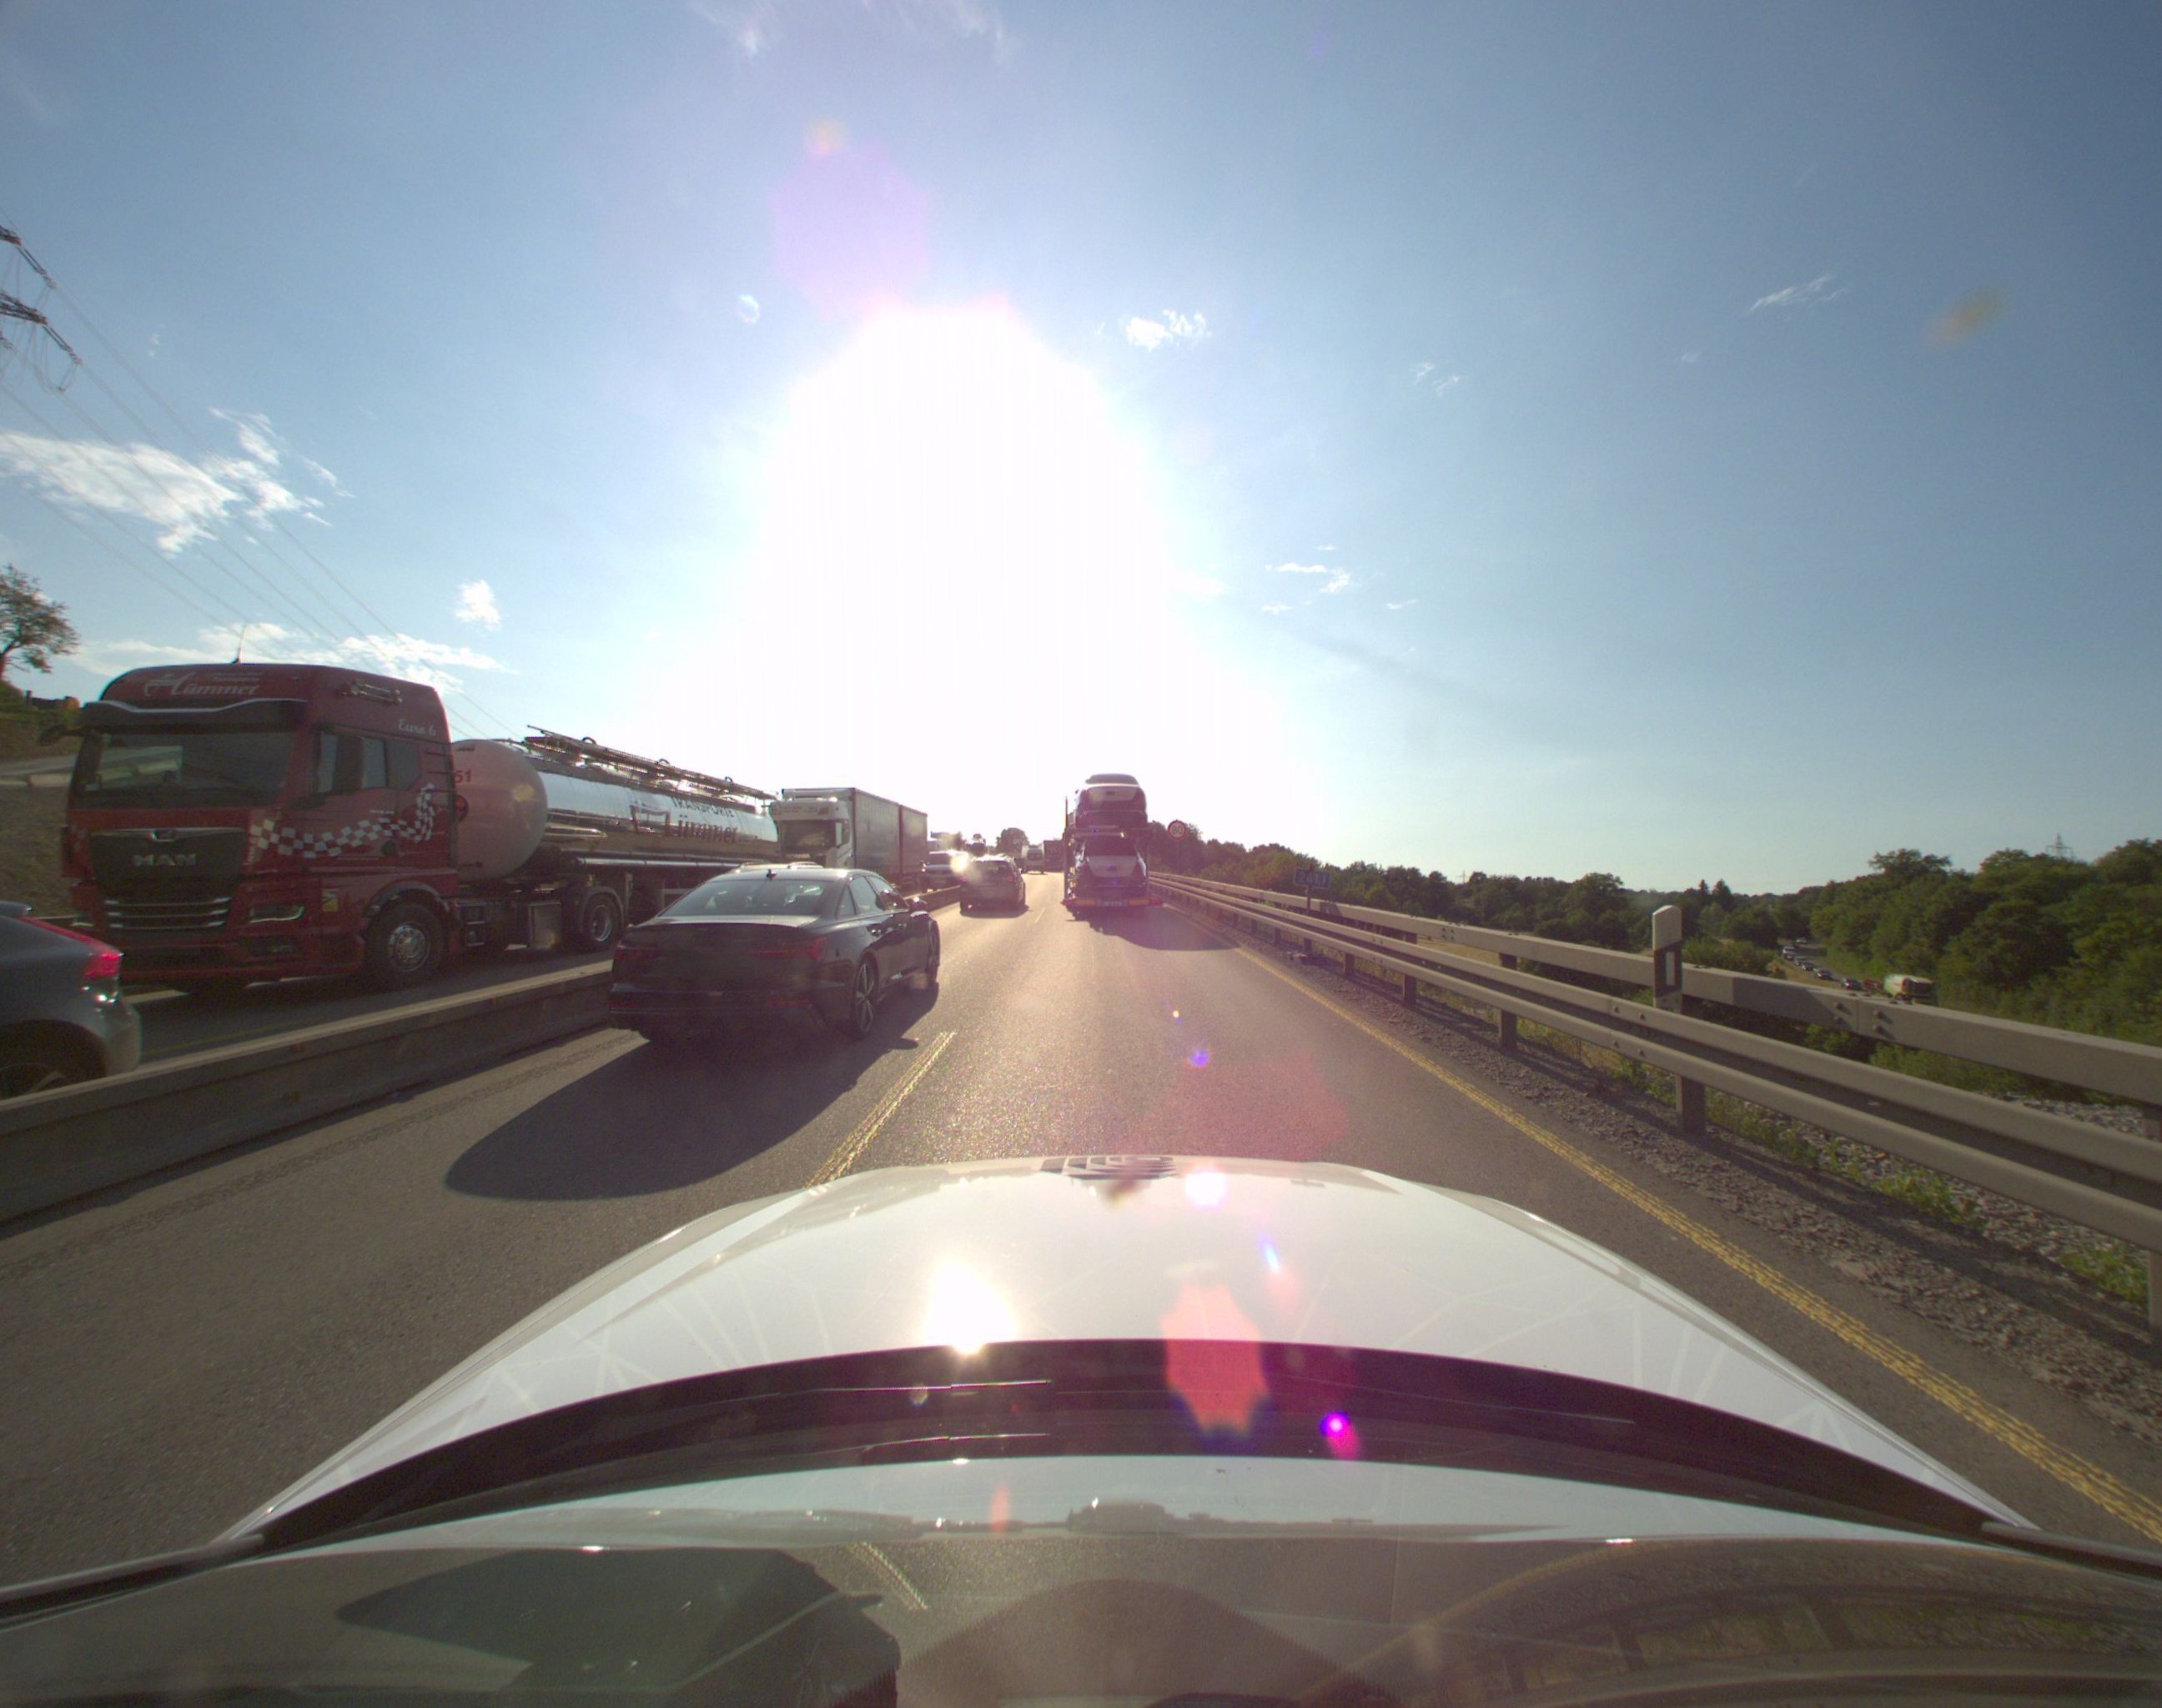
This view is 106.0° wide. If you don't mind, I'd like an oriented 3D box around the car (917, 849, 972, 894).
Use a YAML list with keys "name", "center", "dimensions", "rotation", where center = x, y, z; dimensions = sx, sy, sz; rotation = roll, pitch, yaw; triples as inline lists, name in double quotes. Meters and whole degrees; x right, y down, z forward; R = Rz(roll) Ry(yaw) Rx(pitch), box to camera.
- name: "car"
  center: [-6.248, 0.795, 37.766]
  dimensions: [1.812, 1.925, 4.832]
  rotation: [-1, -1, -2]

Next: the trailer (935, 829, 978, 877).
- name: "trailer"
  center: [-10.575, 0.039, 70.283]
  dimensions: [2.515, 3.725, 13.956]
  rotation: [-1, -1, -4]

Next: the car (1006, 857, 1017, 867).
- name: "car"
  center: [-12.759, 1.400, 149.866]
  dimensions: [1.820, 1.772, 3.999]
  rotation: [-1, -1, 0]

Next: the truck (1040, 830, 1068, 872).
- name: "truck"
  center: [-3.676, -0.315, 107.236]
  dimensions: [3.279, 5.237, 9.920]
  rotation: [-1, -1, -4]

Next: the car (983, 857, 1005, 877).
- name: "car"
  center: [-7.526, 1.117, 70.506]
  dimensions: [1.754, 1.695, 4.446]
  rotation: [-1, -1, -5]

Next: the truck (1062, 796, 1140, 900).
- name: "truck"
  center: [0.662, -0.162, 35.015]
  dimensions: [2.829, 3.792, 9.981]
  rotation: [-1, -1, -1]

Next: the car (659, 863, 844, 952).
- name: "car"
  center: [-6.001, 0.899, 15.506]
  dimensions: [1.622, 1.426, 4.656]
  rotation: [-1, -1, 0]

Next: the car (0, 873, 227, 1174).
- name: "car"
  center: [-5.990, 0.808, 2.707]
  dimensions: [1.622, 1.426, 4.387]
  rotation: [-1, -1, 1]

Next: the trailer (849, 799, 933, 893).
- name: "trailer"
  center: [-9.311, -0.305, 40.882]
  dimensions: [2.437, 4.189, 8.536]
  rotation: [-1, -1, -2]

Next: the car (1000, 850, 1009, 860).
- name: "car"
  center: [-15.495, 0.254, 165.175]
  dimensions: [1.628, 2.014, 3.990]
  rotation: [0, -1, -7]

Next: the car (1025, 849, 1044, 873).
- name: "car"
  center: [-4.952, 0.802, 87.973]
  dimensions: [1.916, 2.493, 5.404]
  rotation: [-1, -1, -2]

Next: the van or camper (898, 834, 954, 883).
- name: "van or camper"
  center: [-9.761, 0.322, 51.948]
  dimensions: [2.402, 2.891, 7.610]
  rotation: [-1, -1, -2]

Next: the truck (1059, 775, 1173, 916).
- name: "truck"
  center: [0.789, -0.147, 25.537]
  dimensions: [2.791, 3.497, 10.599]
  rotation: [-1, -1, -1]

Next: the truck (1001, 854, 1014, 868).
- name: "truck"
  center: [-16.854, 1.575, 187.647]
  dimensions: [2.584, 3.170, 6.670]
  rotation: [-1, -1, -2]

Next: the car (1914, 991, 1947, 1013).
- name: "car"
  center: [105.677, 18.426, 101.297]
  dimensions: [1.858, 2.014, 4.025]
  rotation: [-1, -1, 32]

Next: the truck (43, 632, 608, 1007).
- name: "truck"
  center: [-9.293, -0.329, 11.086]
  dimensions: [2.425, 3.785, 5.615]
  rotation: [-1, -1, 0]

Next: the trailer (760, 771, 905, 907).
- name: "trailer"
  center: [-9.105, -0.428, 31.360]
  dimensions: [2.468, 4.329, 10.506]
  rotation: [-1, -1, -1]

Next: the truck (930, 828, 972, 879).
- name: "truck"
  center: [-10.160, -0.005, 64.140]
  dimensions: [2.595, 3.754, 6.509]
  rotation: [-1, -1, -3]

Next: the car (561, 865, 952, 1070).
- name: "car"
  center: [-2.708, 0.845, 8.297]
  dimensions: [1.928, 1.399, 4.961]
  rotation: [0, 0, 1]

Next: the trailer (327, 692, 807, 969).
- name: "trailer"
  center: [-9.114, -0.254, 17.251]
  dimensions: [2.299, 3.790, 12.054]
  rotation: [-1, -1, 1]

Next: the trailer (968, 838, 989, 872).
- name: "trailer"
  center: [-13.335, 0.191, 106.469]
  dimensions: [2.304, 4.130, 14.569]
  rotation: [0, -1, -6]

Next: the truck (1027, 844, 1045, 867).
- name: "truck"
  center: [-7.504, 0.258, 136.905]
  dimensions: [2.523, 3.648, 8.901]
  rotation: [-1, -1, -1]

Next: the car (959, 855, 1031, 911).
- name: "car"
  center: [-2.585, 0.860, 25.324]
  dimensions: [1.685, 1.596, 4.001]
  rotation: [-1, -1, 1]

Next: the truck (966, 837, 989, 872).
- name: "truck"
  center: [-12.497, 0.062, 98.751]
  dimensions: [2.499, 4.066, 5.654]
  rotation: [0, -1, -5]
